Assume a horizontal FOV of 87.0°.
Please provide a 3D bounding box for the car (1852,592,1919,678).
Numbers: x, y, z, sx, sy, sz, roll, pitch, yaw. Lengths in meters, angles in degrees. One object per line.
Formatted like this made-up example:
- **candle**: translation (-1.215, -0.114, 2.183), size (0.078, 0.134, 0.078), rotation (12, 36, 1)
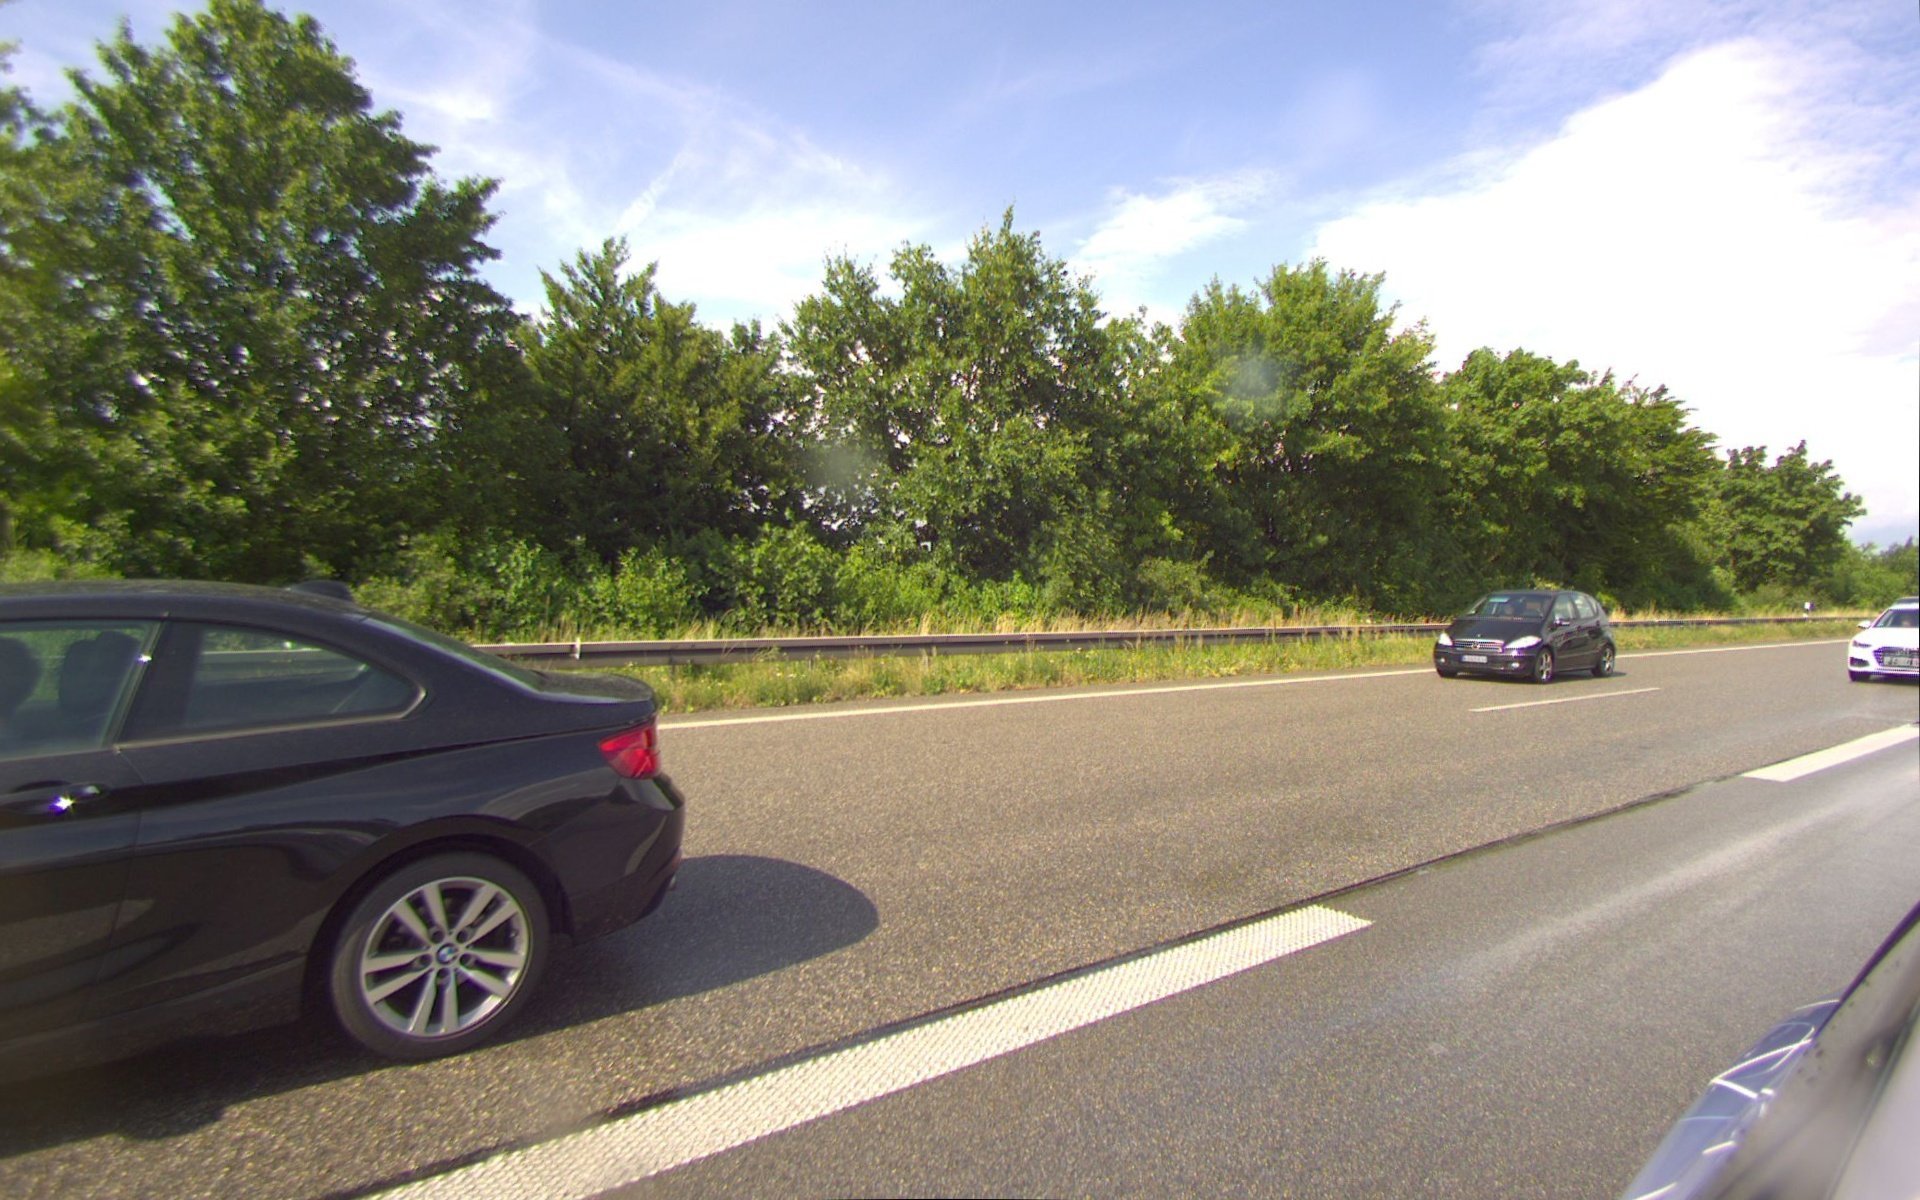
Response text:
- **car**: translation (18.017, 0.578, 18.378), size (4.426, 1.443, 1.832), rotation (0, 1, -36)

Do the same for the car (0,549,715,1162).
- **car**: translation (-3.075, 0.590, 3.020), size (4.177, 1.482, 1.854), rotation (0, 2, -37)

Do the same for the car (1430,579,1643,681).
- **car**: translation (10.234, 0.447, 17.884), size (3.926, 1.588, 1.854), rotation (0, 2, -37)

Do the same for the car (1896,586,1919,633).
- **car**: translation (35.231, 0.341, 36.244), size (4.283, 1.641, 1.825), rotation (0, 0, -37)
